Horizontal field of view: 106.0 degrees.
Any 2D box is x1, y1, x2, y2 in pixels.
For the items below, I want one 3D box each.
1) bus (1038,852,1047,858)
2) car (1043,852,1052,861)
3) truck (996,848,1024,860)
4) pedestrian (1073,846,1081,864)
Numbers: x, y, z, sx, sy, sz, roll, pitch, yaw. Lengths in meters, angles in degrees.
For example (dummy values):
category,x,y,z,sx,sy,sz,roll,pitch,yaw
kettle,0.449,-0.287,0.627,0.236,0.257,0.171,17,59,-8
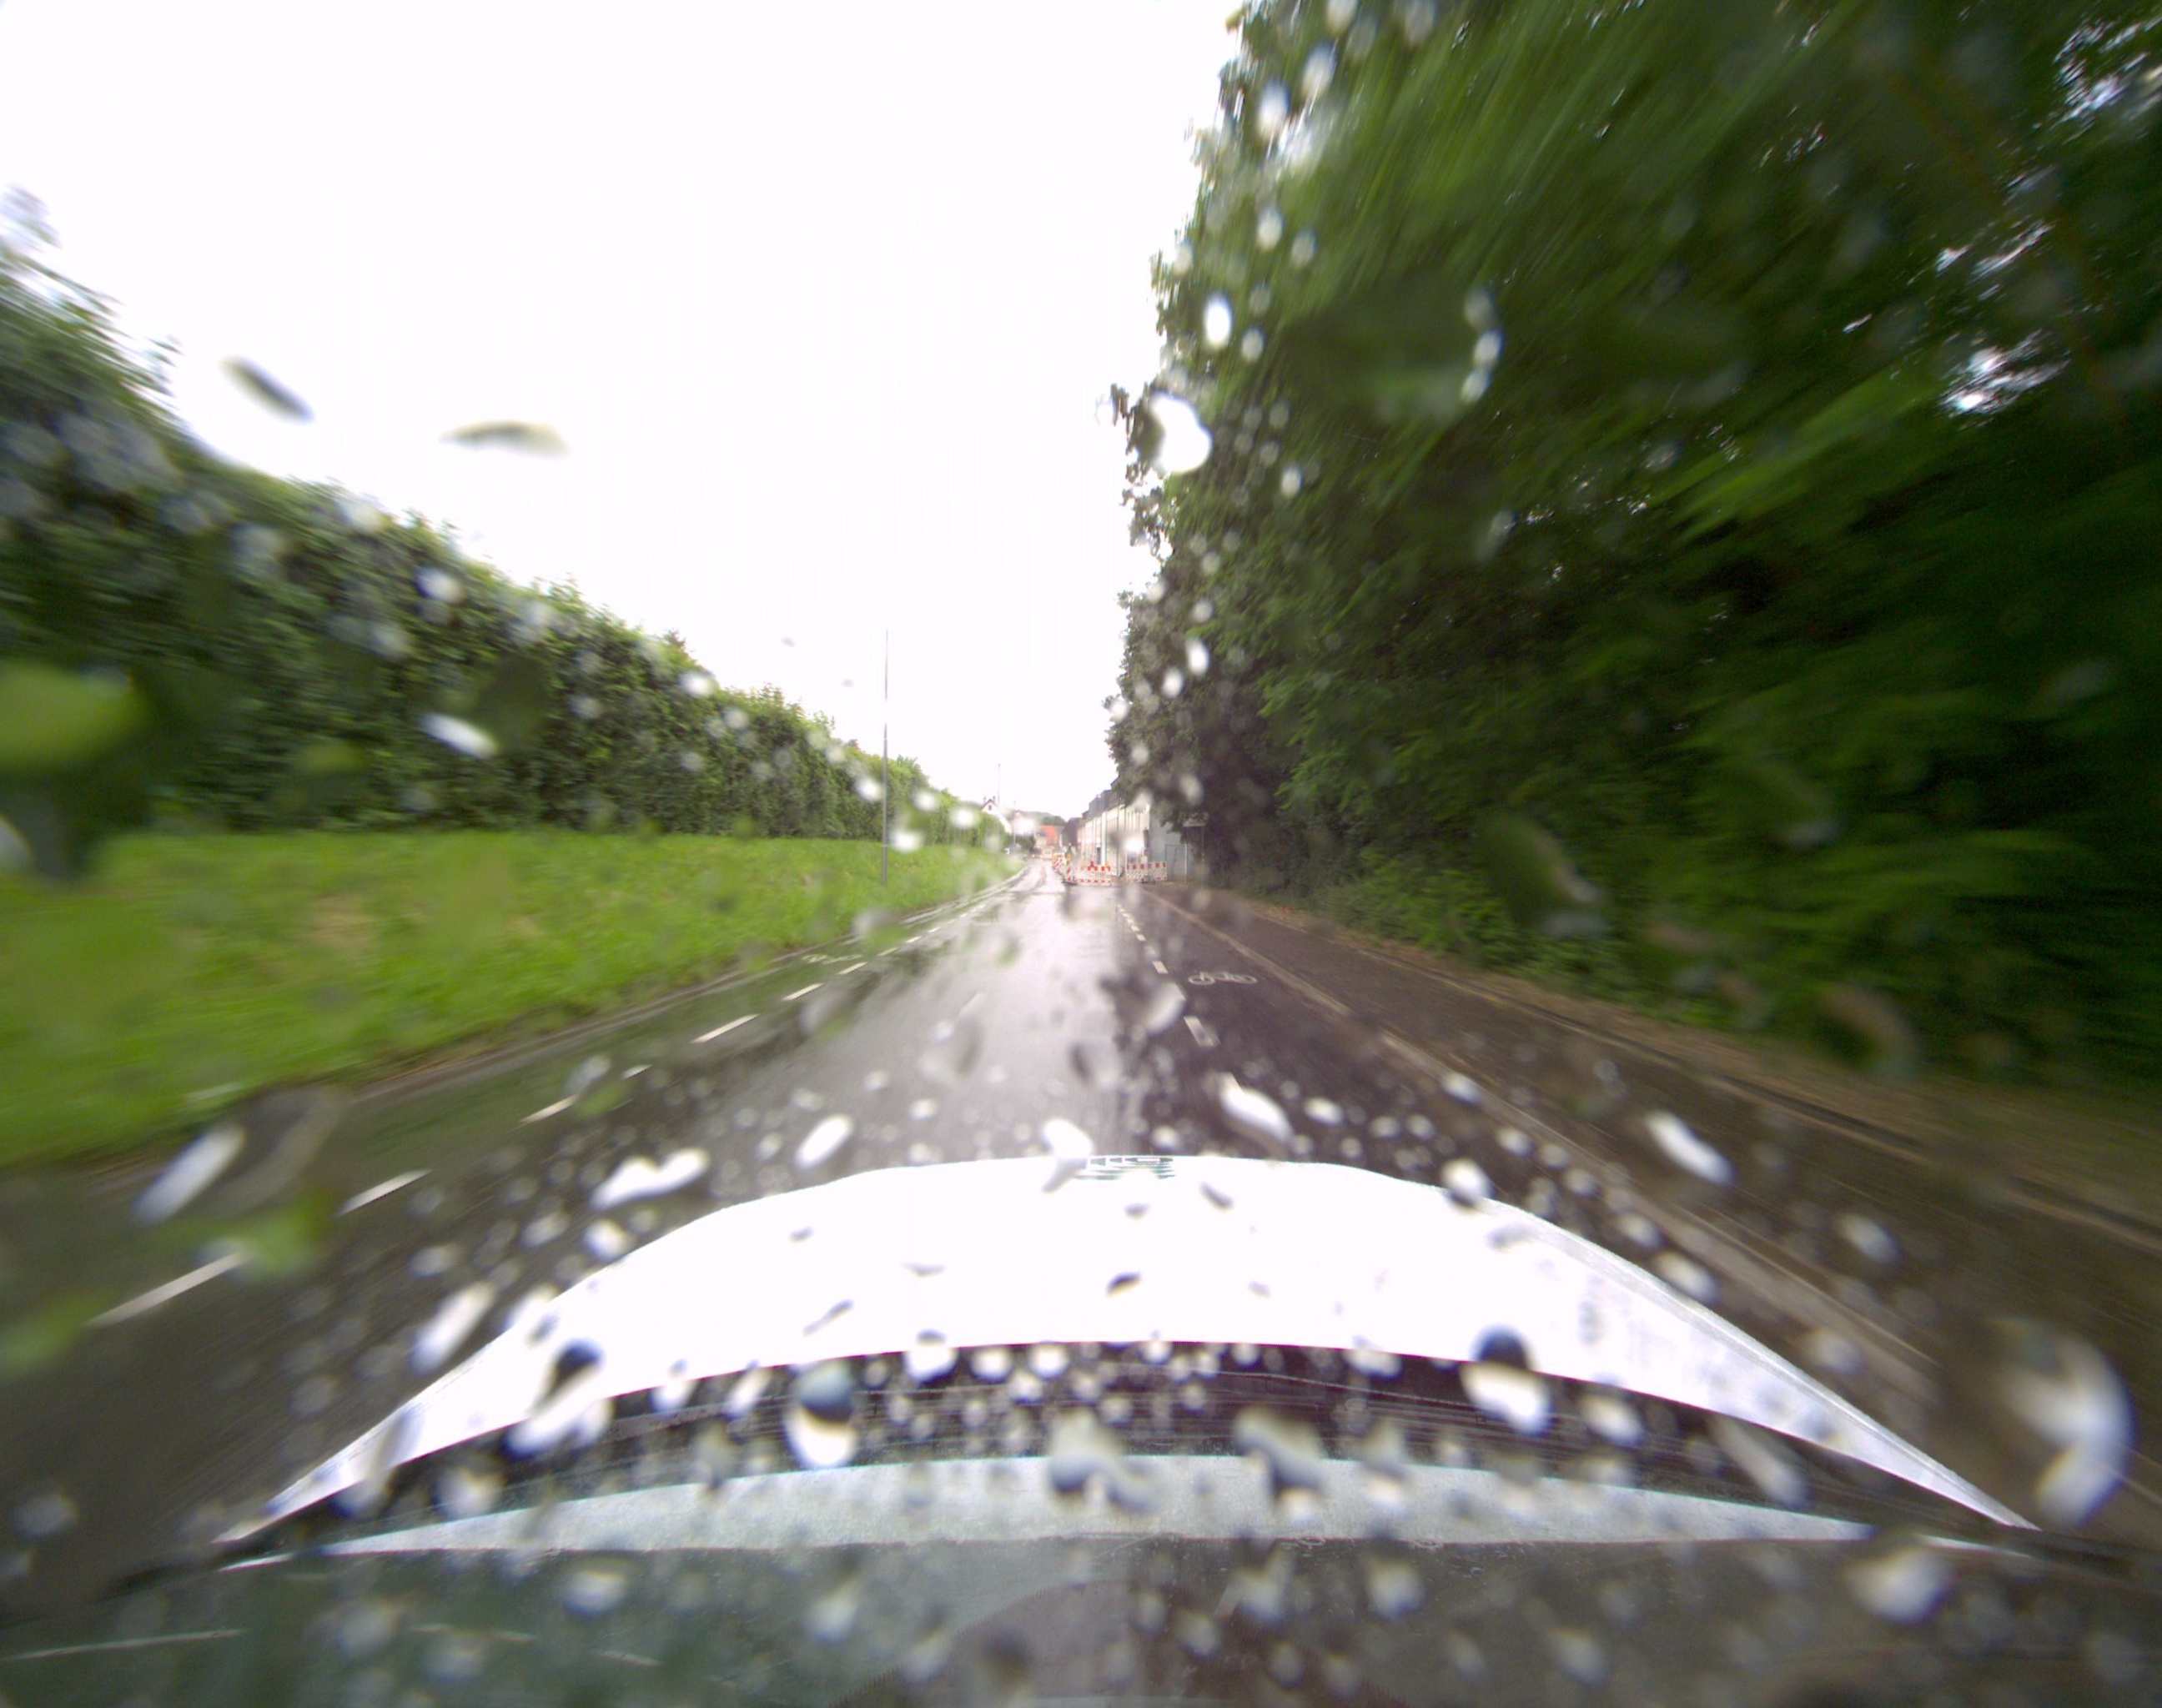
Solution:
category,x,y,z,sx,sy,sz,roll,pitch,yaw
bus,-9.018,0.203,190.767,1.789,1.409,3.999,2,0,0
car,-7.031,0.516,171.158,1.814,1.641,4.091,-5,0,-3
truck,-12.756,-0.055,146.515,4.881,2.013,1.997,1,1,-6
pedestrian,-0.403,0.106,83.282,0.664,1.755,0.810,-1,0,-5
